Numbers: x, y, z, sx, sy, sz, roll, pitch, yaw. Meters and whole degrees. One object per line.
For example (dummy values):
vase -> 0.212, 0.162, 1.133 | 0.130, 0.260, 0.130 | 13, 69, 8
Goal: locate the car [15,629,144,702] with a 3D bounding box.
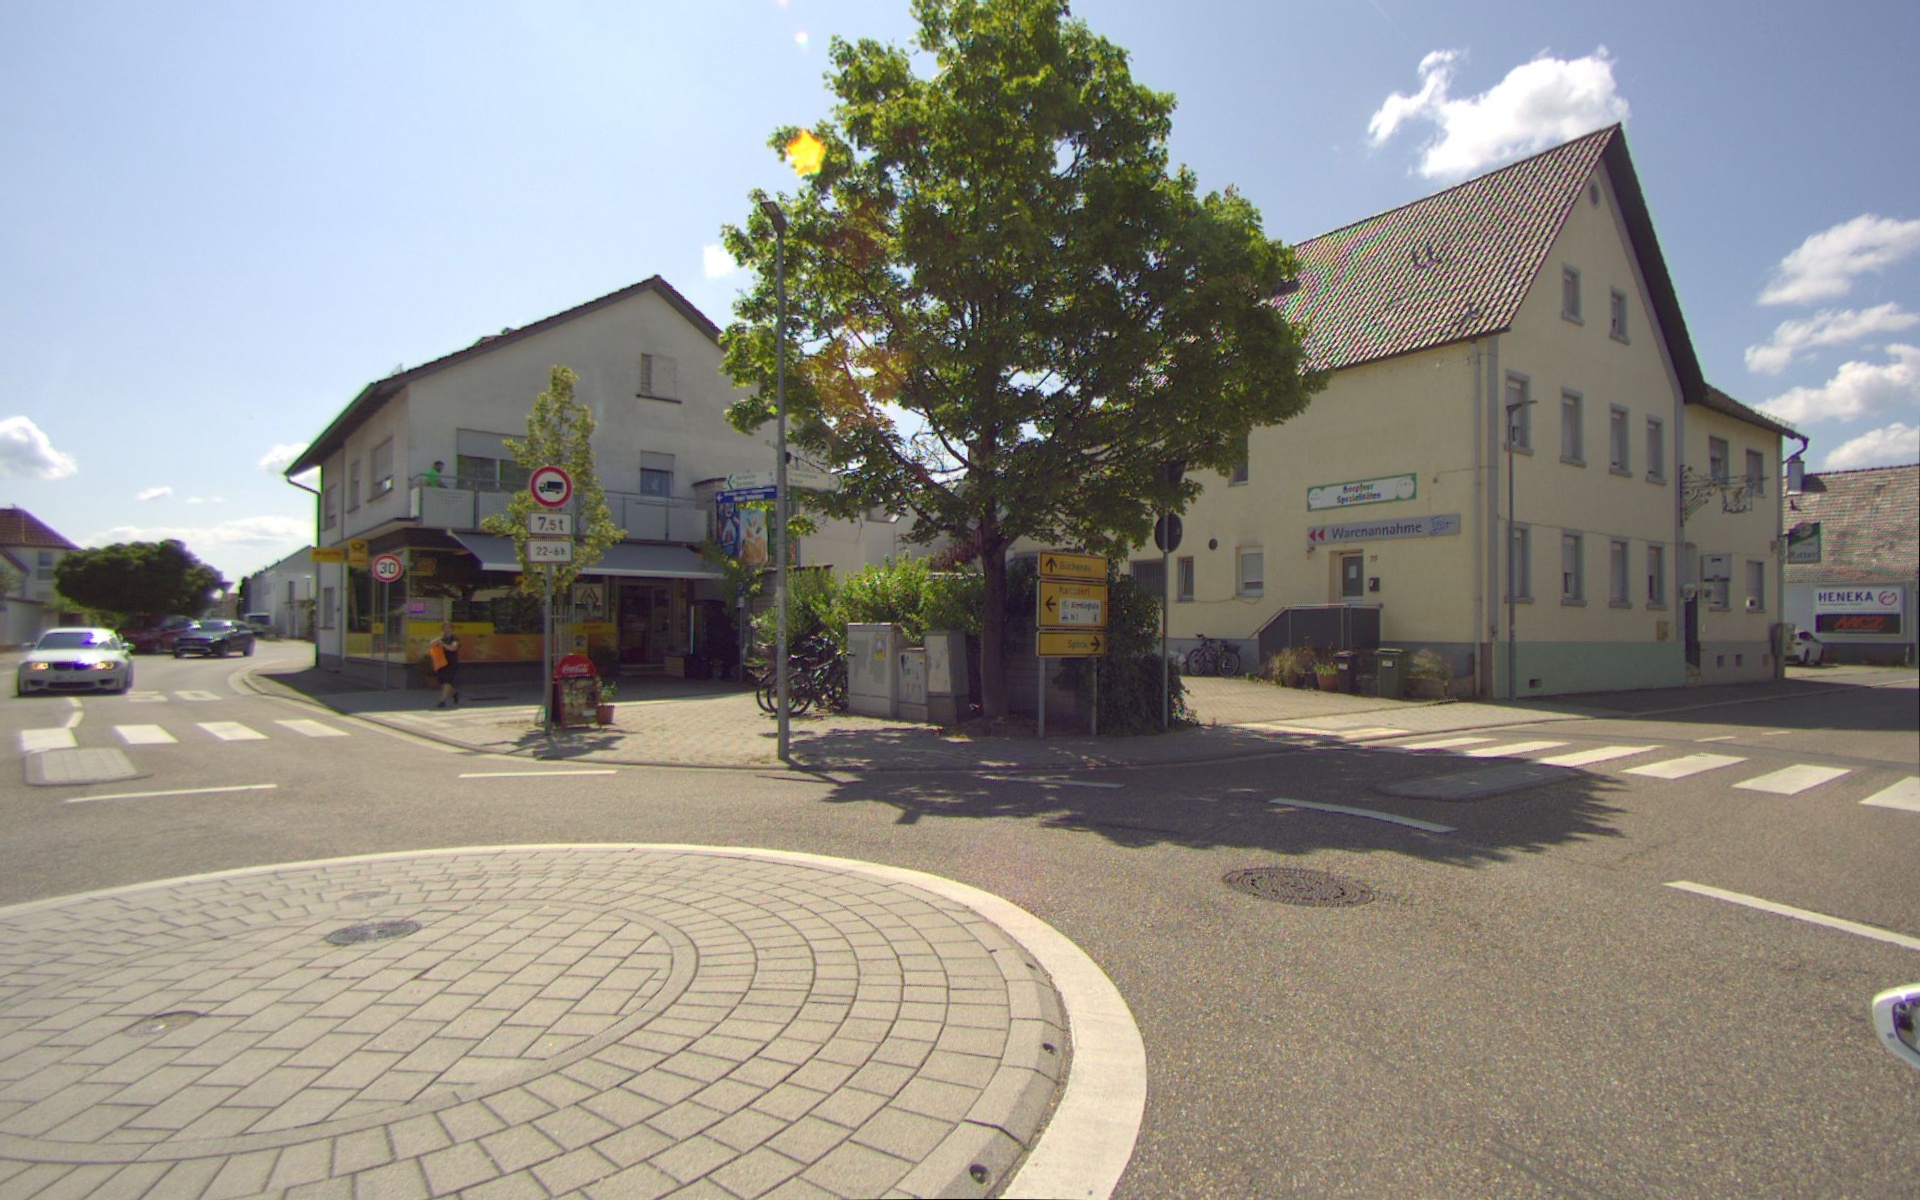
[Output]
car -> -19.820, 1.396, 22.782 | 1.864, 1.468, 4.289 | 1, -2, -37

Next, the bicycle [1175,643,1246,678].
bicycle -> 6.886, 1.656, 27.722 | 0.536, 0.925, 2.158 | 1, -2, -32

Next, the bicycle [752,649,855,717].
bicycle -> -2.663, 1.410, 17.351 | 0.395, 1.017, 1.972 | -1, 0, 40

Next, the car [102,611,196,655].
car -> -36.639, 1.480, 45.493 | 1.843, 1.857, 3.960 | 1, 0, -16

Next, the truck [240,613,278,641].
truck -> -64.514, 2.481, 92.404 | 2.230, 2.483, 5.797 | 2, -2, -42

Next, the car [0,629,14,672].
car -> -29.506, 1.538, 29.430 | 1.766, 1.261, 3.940 | 1, 0, -31

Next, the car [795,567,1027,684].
car -> -1.109, 0.617, 24.748 | 5.595, 2.601, 1.922 | 1, 0, -37

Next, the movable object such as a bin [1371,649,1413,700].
movable object such as a bin -> 9.474, 1.625, 22.024 | 0.652, 1.093, 0.596 | 1, -2, -35

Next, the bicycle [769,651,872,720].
bicycle -> -2.333, 1.419, 17.047 | 0.395, 1.017, 1.972 | -1, 0, 40

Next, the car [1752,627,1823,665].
car -> 37.366, 2.054, 45.344 | 4.163, 1.577, 1.705 | 2, 0, -39

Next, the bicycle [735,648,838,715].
bicycle -> -3.011, 1.401, 17.630 | 0.395, 1.017, 1.972 | -1, 0, 40

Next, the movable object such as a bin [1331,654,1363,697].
movable object such as a bin -> 8.779, 1.713, 22.792 | 0.541, 0.940, 0.476 | 1, -2, -35

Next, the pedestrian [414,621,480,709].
pedestrian -> -9.672, 1.211, 18.953 | 0.735, 1.610, 0.881 | -1, 0, 6

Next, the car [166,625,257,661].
car -> -32.857, 1.873, 44.247 | 1.850, 1.369, 4.400 | 2, 0, -18
